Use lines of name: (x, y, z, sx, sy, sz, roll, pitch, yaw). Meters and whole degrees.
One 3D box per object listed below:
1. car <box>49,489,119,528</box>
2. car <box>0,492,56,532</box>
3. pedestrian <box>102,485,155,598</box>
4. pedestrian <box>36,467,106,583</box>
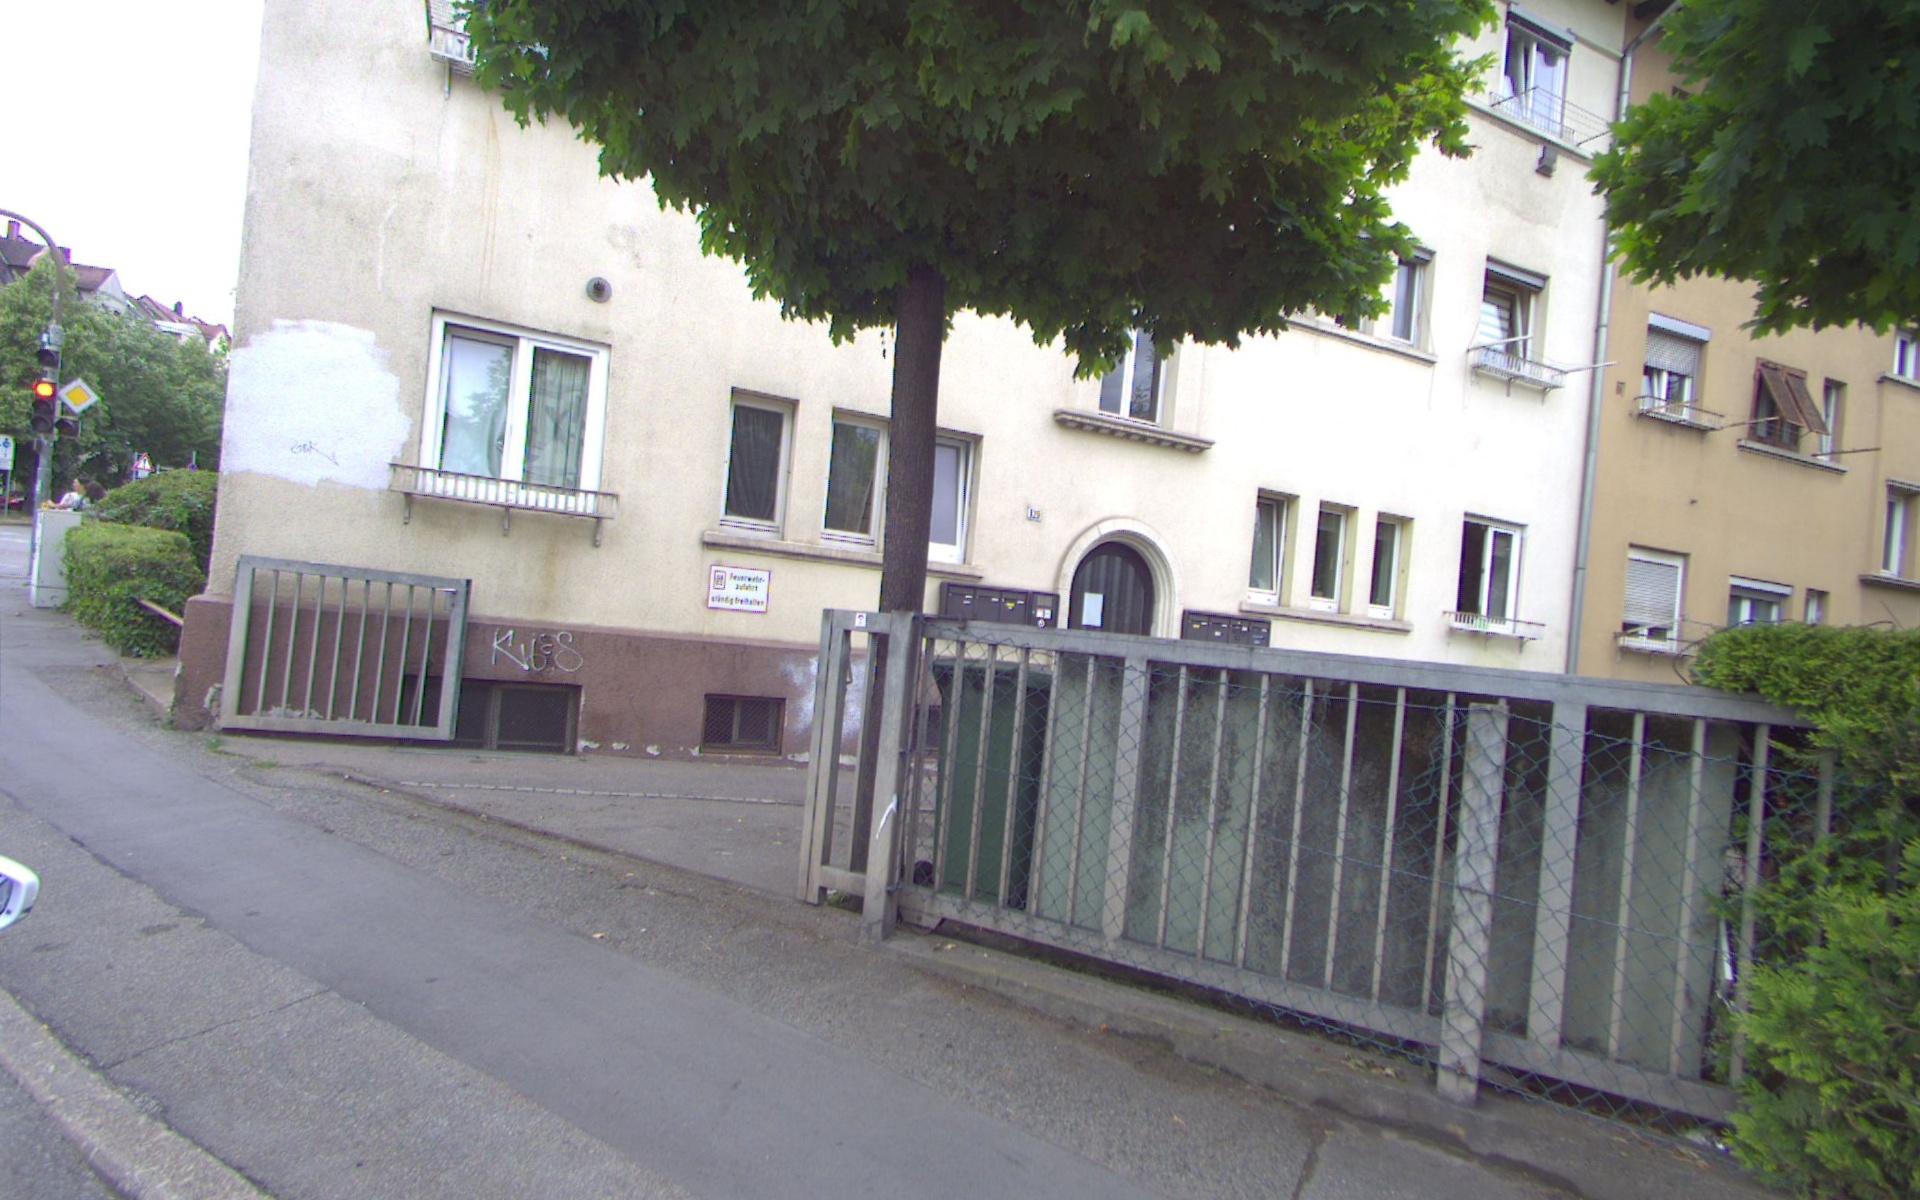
car: (-62.473, -6.478, 71.828, 1.970, 2.036, 3.992, 8, -3, -15)
car: (-60.876, -5.741, 64.916, 1.970, 2.036, 3.992, 8, -3, -15)
pedestrian: (-14.235, -1.001, 17.218, 0.462, 1.857, 0.320, 9, -2, -44)
pedestrian: (-14.905, -1.252, 16.868, 0.521, 1.840, 0.590, 6, -2, 37)
